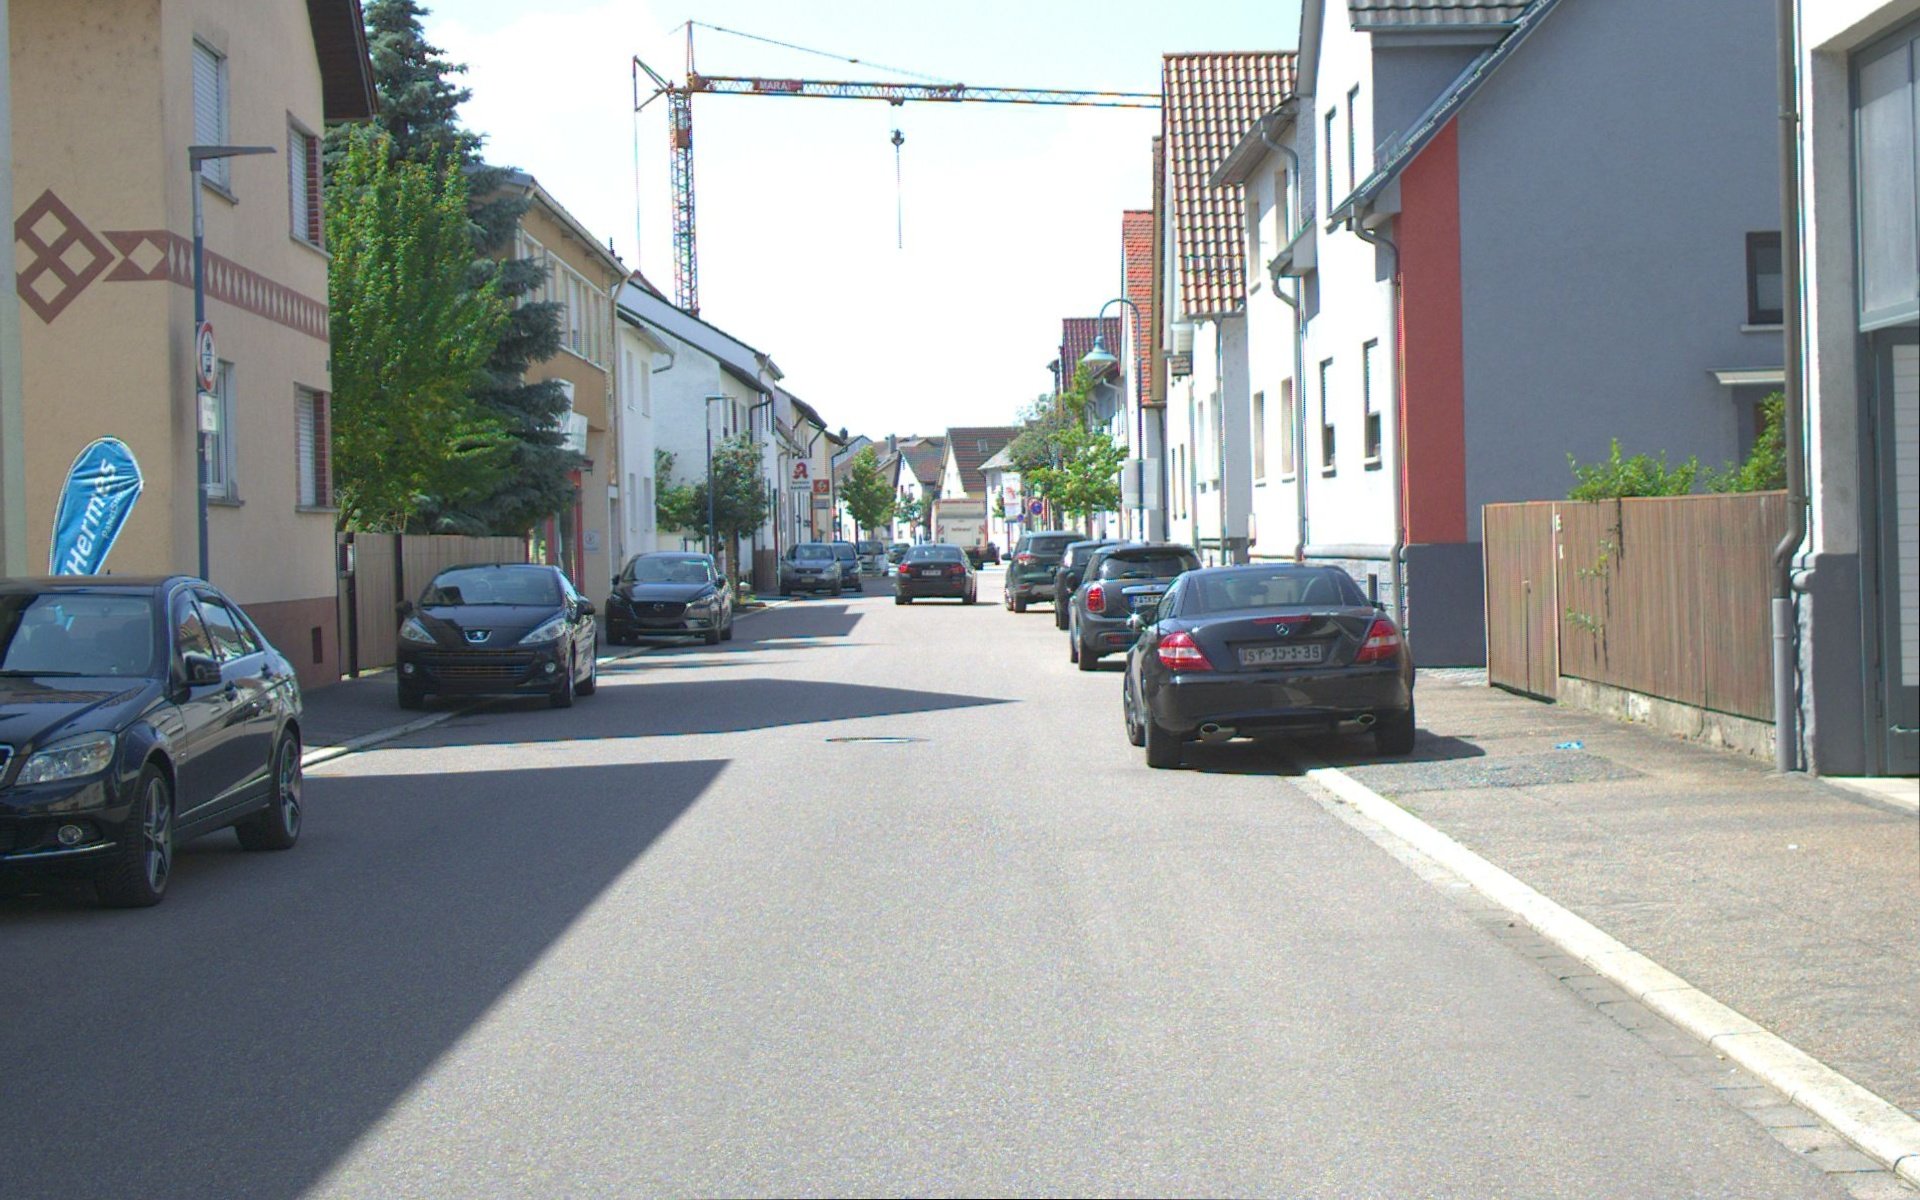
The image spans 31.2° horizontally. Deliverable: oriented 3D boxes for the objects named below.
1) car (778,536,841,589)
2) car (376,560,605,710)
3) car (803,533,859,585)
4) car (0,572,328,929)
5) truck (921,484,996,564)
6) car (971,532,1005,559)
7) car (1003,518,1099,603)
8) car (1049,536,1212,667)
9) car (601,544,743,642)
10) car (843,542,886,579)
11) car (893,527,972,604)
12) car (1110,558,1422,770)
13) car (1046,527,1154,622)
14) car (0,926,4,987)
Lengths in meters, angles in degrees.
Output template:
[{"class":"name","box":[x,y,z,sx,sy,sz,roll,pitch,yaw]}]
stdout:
[{"class":"car","box":[-4.572,-1.171,104.875,1.758,1.519,4.289,-2,1,-1]},{"class":"car","box":[-4.637,0.309,34.468,1.761,1.369,4.067,0,1,0]},{"class":"car","box":[-4.173,-1.348,111.410,1.653,1.603,4.061,-2,1,-1]},{"class":"car","box":[-4.281,0.615,16.352,1.697,1.407,4.390,-1,1,0]},{"class":"truck","box":[-0.159,-3.856,177.521,3.379,3.852,13.927,-3,1,-1]},{"class":"car","box":[1.704,-3.331,210.732,1.782,1.558,4.337,-3,1,-2]},{"class":"car","box":[1.904,-0.849,72.824,1.728,1.711,4.276,-2,1,-2]},{"class":"car","box":[1.953,-0.015,40.289,1.688,1.417,3.657,-2,1,0]},{"class":"car","box":[-4.596,-0.146,55.404,1.768,1.455,4.436,-1,1,2]},{"class":"car","box":[-4.191,-1.754,150.946,1.723,1.550,4.172,0,1,1]},{"class":"car","box":[-0.688,-0.847,83.617,1.783,1.747,4.000,-3,1,-1]},{"class":"car","box":[2.034,0.385,23.928,1.816,1.271,4.147,-1,1,1]},{"class":"car","box":[2.419,-0.475,60.201,1.617,1.490,3.972,-4,1,0]},{"class":"car","box":[-4.240,0.641,10.067,1.717,1.634,4.149,-3,1,-1]}]
